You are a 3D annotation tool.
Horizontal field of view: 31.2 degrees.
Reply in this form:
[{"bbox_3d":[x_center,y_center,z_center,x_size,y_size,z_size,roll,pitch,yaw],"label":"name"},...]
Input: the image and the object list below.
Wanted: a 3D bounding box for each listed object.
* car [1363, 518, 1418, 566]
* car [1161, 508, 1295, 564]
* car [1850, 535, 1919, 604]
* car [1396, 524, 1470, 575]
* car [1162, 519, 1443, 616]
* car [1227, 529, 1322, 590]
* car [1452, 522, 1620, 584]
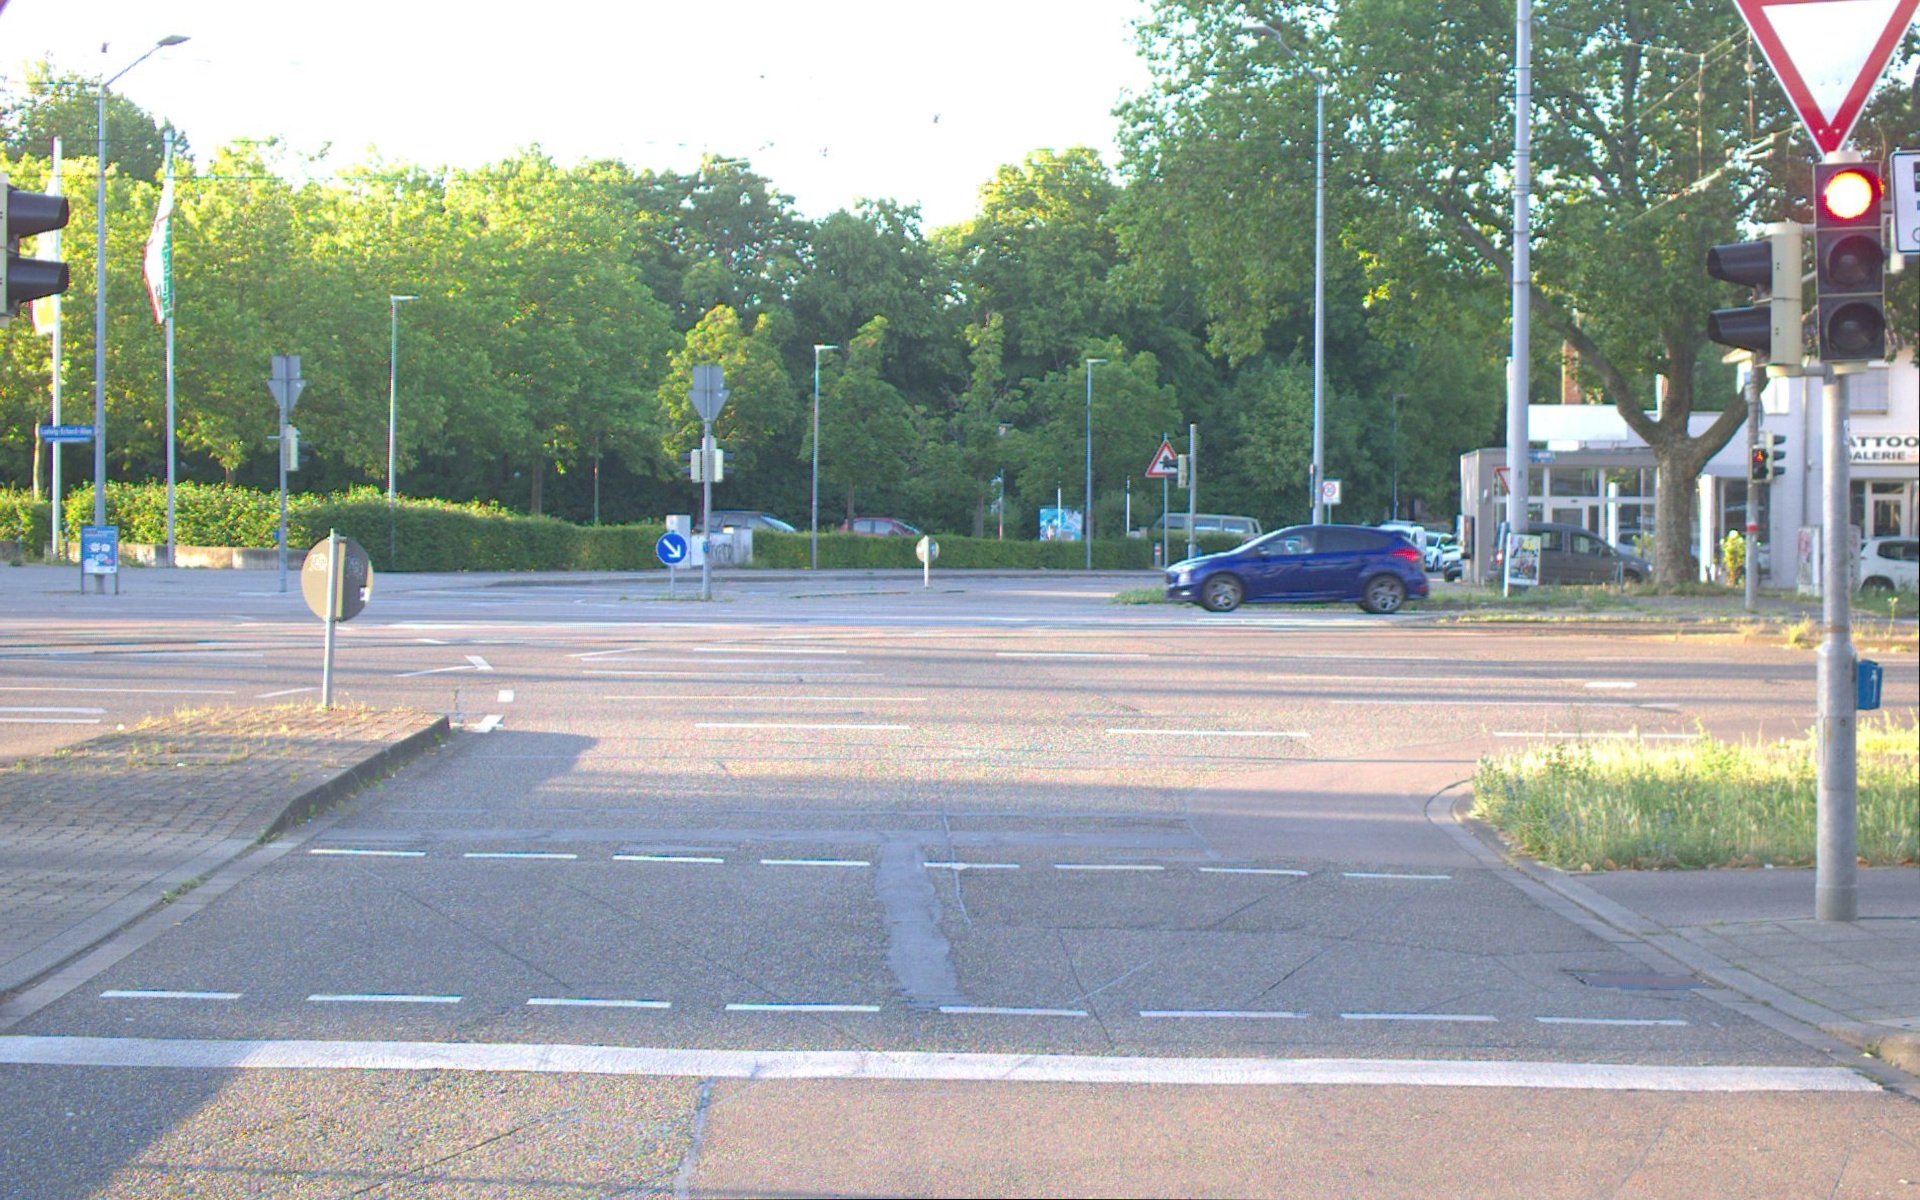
[{"bbox_3d":[16.429,-2.195,131.188,1.864,1.788,3.998,1,0,10],"label":"car"},{"bbox_3d":[9.784,-2.324,125.873,4.774,1.999,2.000,0,0,2],"label":"car"},{"bbox_3d":[20.693,-0.623,72.172,3.741,1.435,1.663,1,0,9],"label":"car"},{"bbox_3d":[15.923,-1.681,115.597,1.995,1.656,3.997,1,0,15],"label":"car"},{"bbox_3d":[5.629,-0.535,56.903,4.472,1.547,2.000,0,0,1],"label":"car"},{"bbox_3d":[8.777,-1.103,95.686,1.995,1.656,3.997,1,0,15],"label":"car"},{"bbox_3d":[14.912,-1.219,89.166,4.220,1.547,1.999,1,0,7],"label":"car"}]
